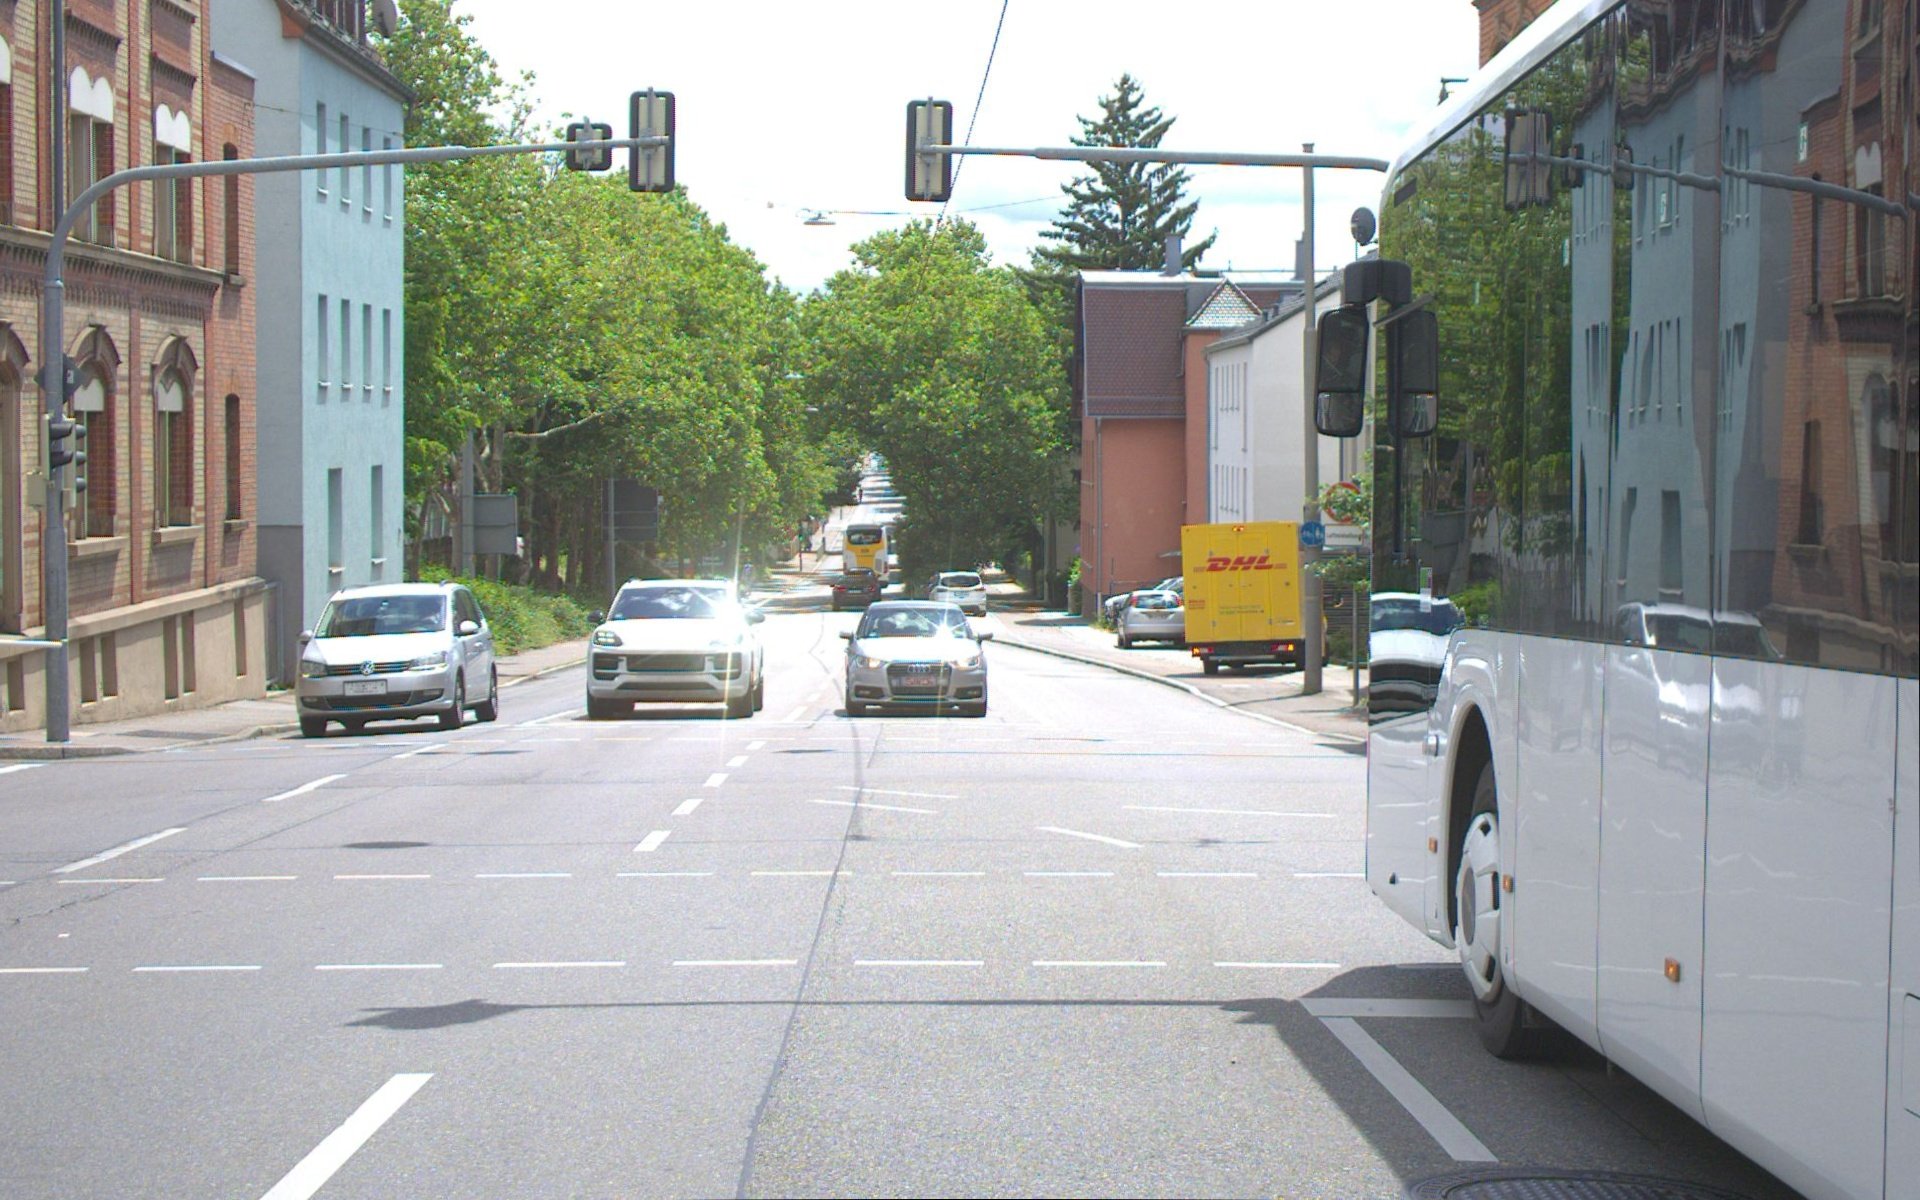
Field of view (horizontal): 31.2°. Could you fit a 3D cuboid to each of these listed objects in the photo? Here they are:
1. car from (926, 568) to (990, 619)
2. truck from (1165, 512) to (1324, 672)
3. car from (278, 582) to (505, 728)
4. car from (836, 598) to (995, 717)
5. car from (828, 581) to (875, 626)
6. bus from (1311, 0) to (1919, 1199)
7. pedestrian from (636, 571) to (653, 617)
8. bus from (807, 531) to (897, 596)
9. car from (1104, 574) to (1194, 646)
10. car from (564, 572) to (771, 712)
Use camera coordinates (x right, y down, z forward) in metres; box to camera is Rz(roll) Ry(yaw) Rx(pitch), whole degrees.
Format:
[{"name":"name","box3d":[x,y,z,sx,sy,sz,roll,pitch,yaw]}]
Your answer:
[{"name":"car","box3d":[-0.093,-0.255,125.892,2.091,1.824,4.143,0,0,-4]},{"name":"truck","box3d":[5.560,-0.145,66.321,2.542,2.903,6.570,1,0,9]},{"name":"car","box3d":[-6.515,0.590,39.804,1.935,1.558,4.389,-1,0,-1]},{"name":"car","box3d":[-0.557,0.678,43.030,1.865,1.363,4.547,-1,0,-1]},{"name":"car","box3d":[-4.388,0.142,139.473,1.819,1.778,4.000,-1,0,-1]},{"name":"bus","box3d":[2.954,-0.300,7.494,2.904,3.498,12.488,1,0,-1]},{"name":"pedestrian","box3d":[-12.240,-0.231,133.383,0.606,1.752,0.654,-1,0,-2]},{"name":"bus","box3d":[-6.337,-2.102,199.484,3.299,3.618,11.247,-1,0,-12]},{"name":"car","box3d":[4.873,0.246,89.215,1.910,1.810,4.000,0,0,-3]},{"name":"car","box3d":[-3.554,0.475,42.571,2.207,1.607,4.547,-1,0,-1]}]
